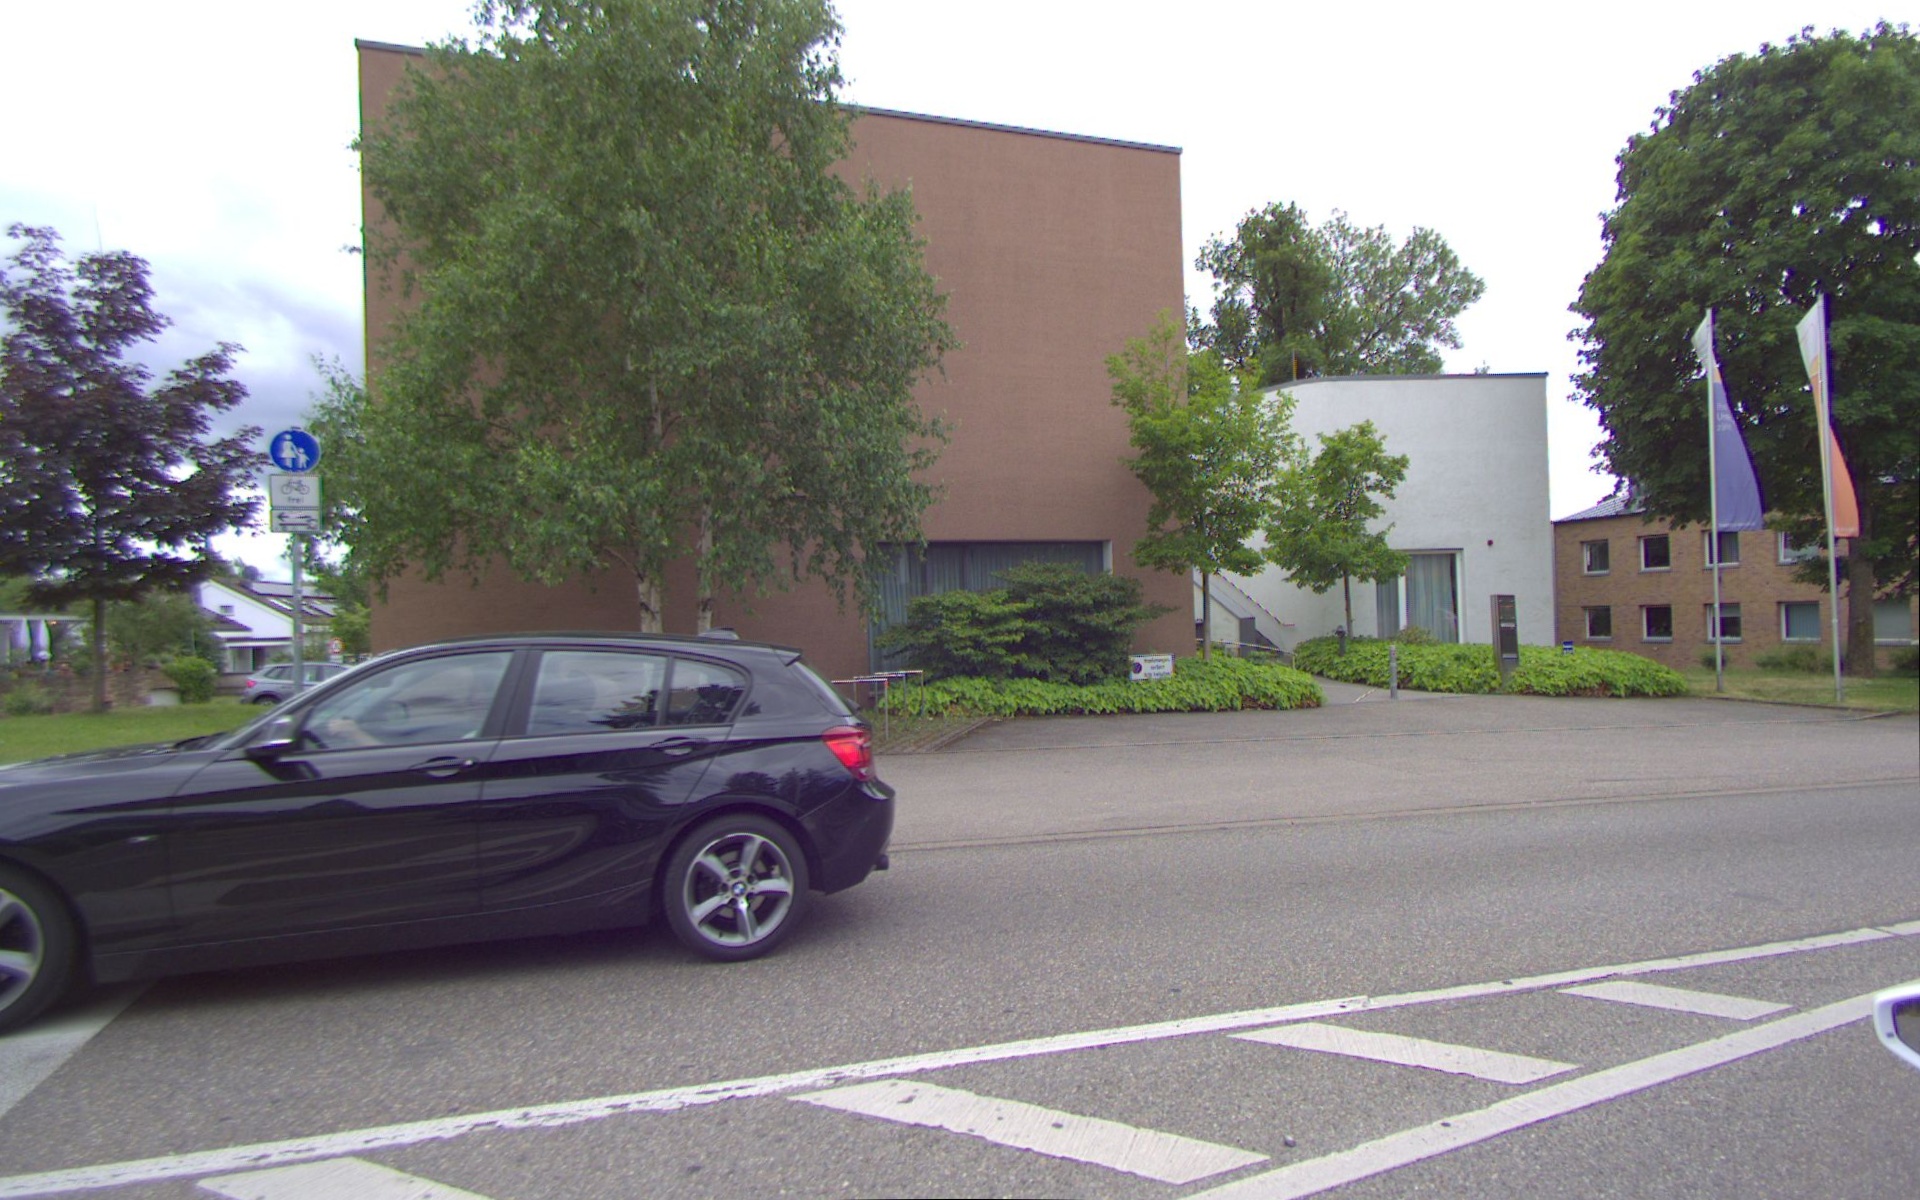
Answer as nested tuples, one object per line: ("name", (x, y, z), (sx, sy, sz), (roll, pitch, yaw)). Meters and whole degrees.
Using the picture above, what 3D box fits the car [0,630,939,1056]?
("car", (-2.239, 0.897, 4.730), (3.938, 1.426, 1.761), (0, -4, -19))

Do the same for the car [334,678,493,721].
("car", (-16.053, 2.913, 29.707), (3.781, 1.105, 1.782), (0, -3, -14))

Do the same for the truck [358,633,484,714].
("truck", (-27.673, 3.896, 52.075), (2.965, 3.846, 8.306), (1, -5, -9))

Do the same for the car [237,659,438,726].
("car", (-15.649, 2.310, 25.473), (3.938, 1.541, 1.782), (0, -3, -14))
